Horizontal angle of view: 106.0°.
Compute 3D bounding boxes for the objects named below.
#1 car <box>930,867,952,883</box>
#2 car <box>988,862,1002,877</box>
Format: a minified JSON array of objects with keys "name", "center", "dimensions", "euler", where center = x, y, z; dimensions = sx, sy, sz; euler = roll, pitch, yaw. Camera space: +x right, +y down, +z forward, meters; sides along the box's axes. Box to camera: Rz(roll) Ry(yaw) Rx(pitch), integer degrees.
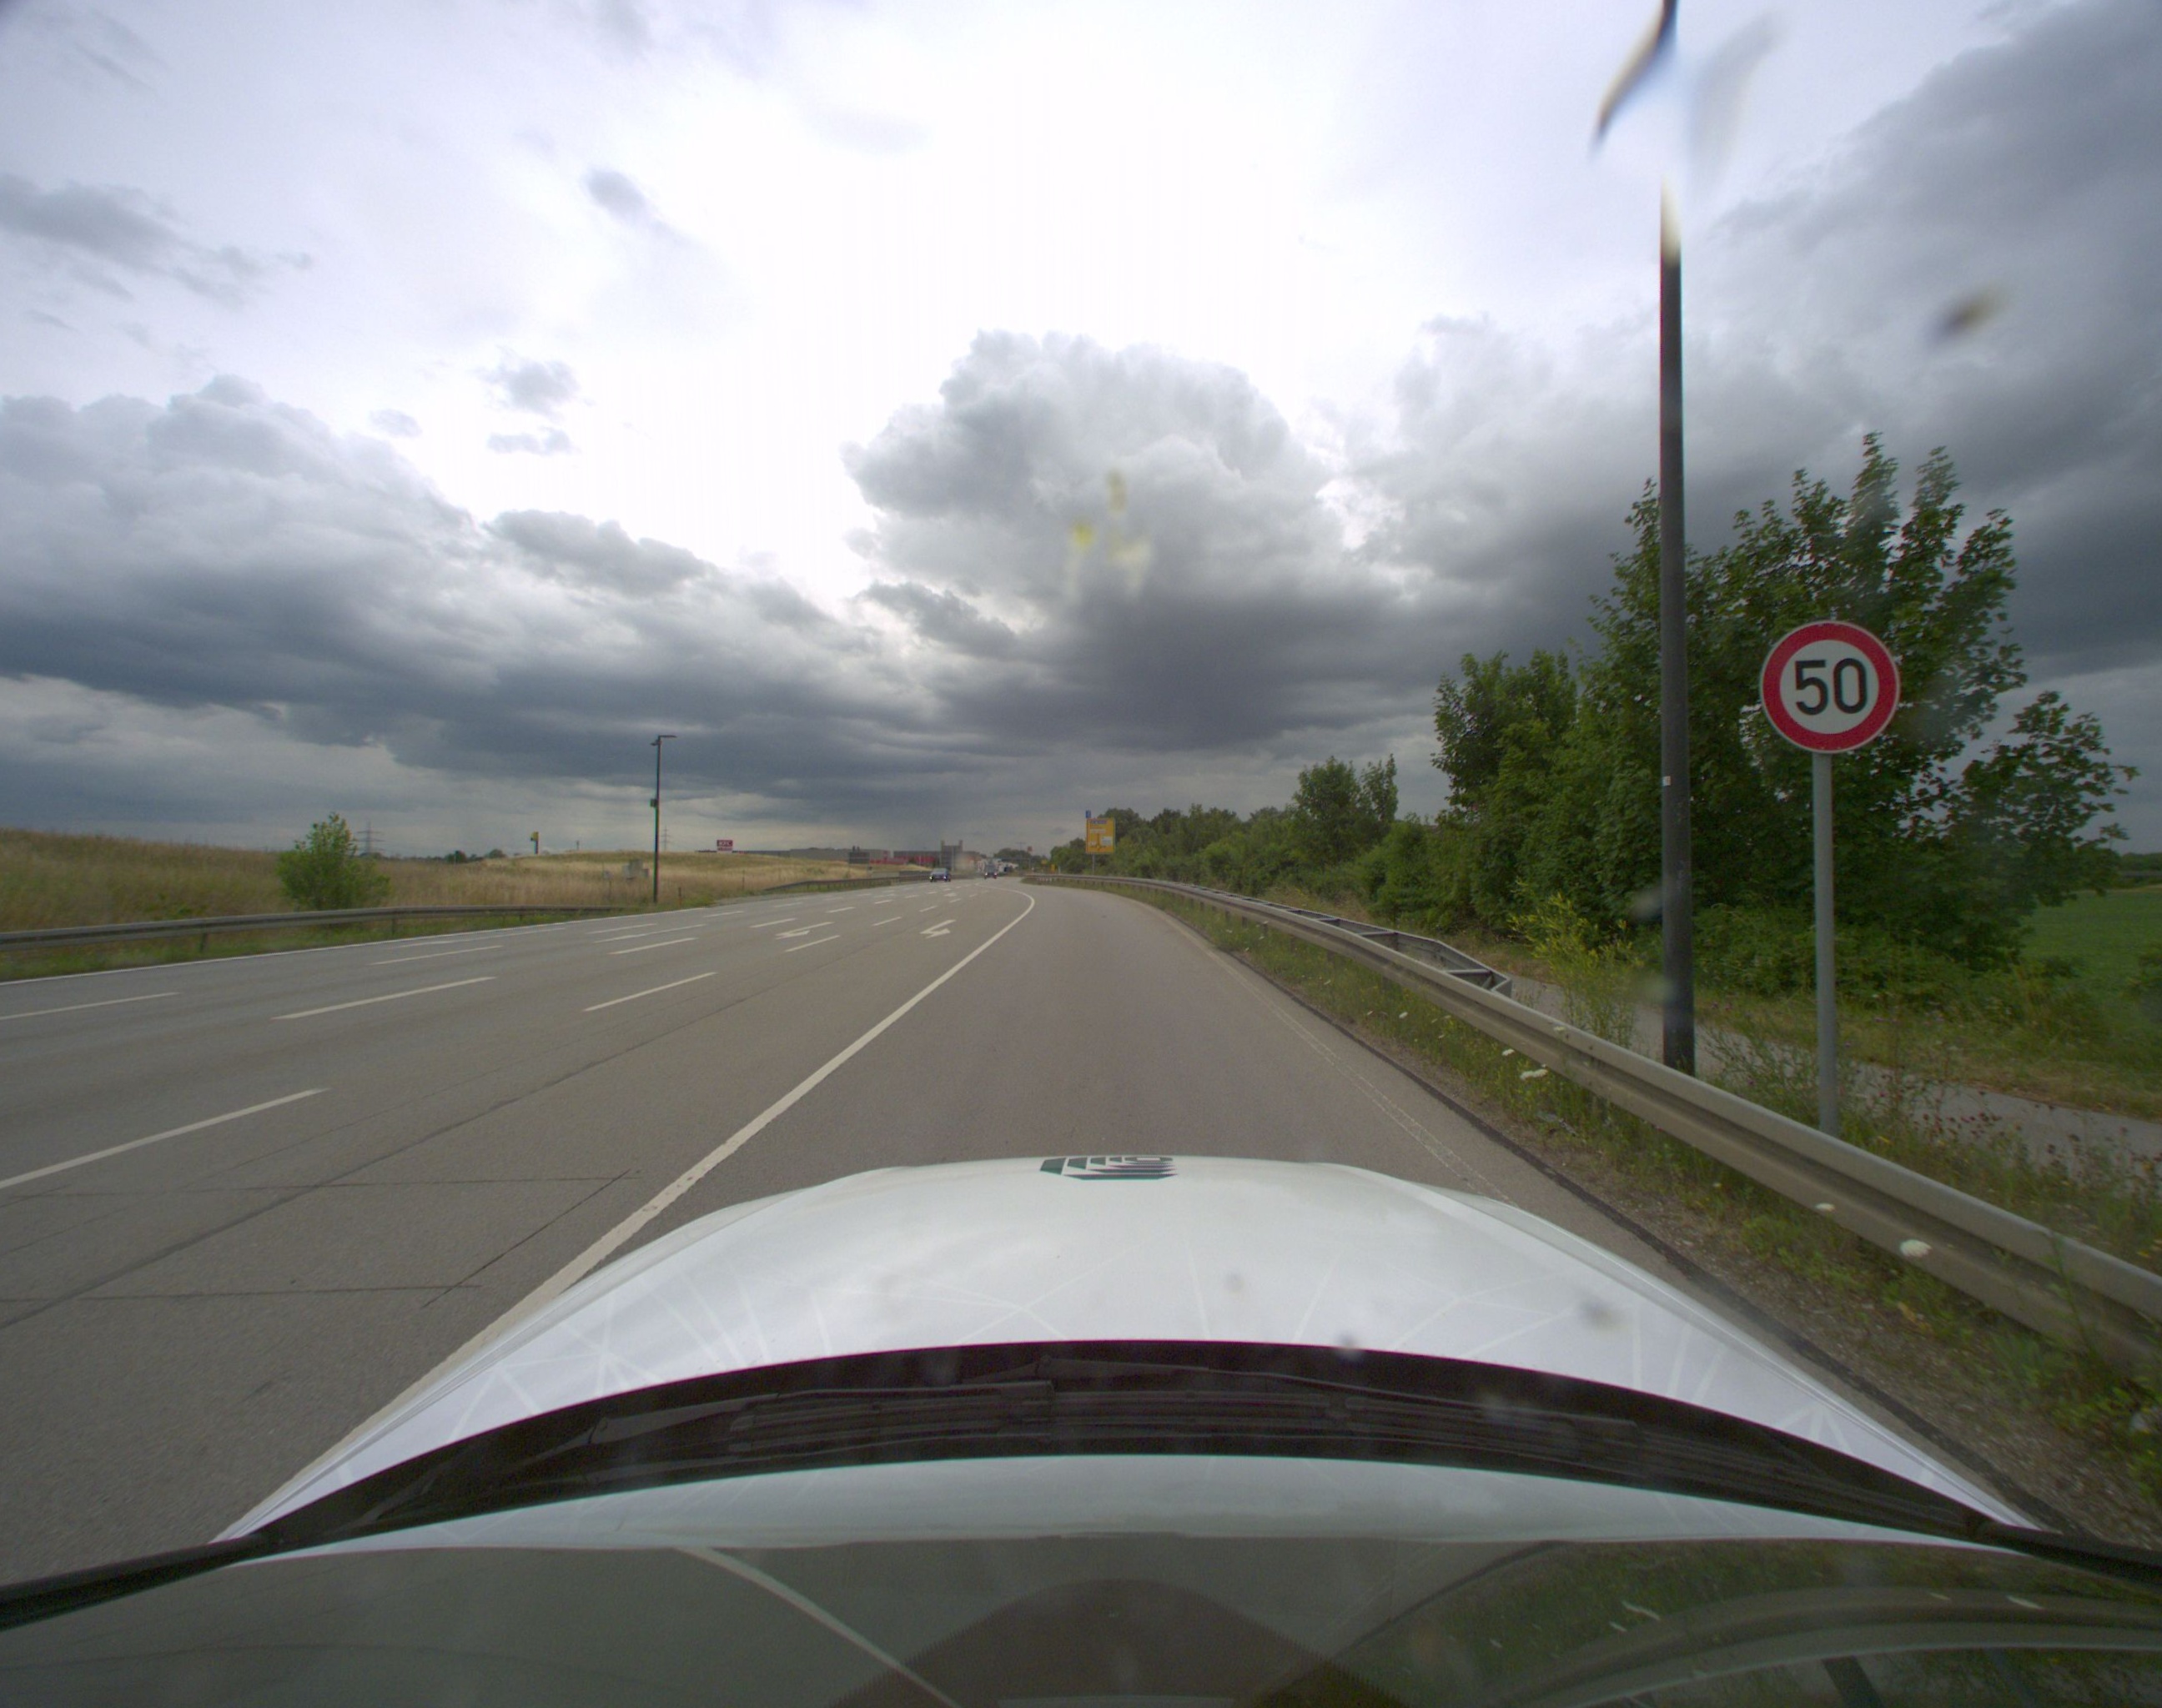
[{"name":"car","center":[-14.930,2.225,86.854],"dimensions":[1.793,1.551,3.995],"euler":[-1,-1,-3]},{"name":"car","center":[-14.758,2.684,139.829],"dimensions":[1.989,2.592,5.997],"euler":[-1,-1,-3]}]
